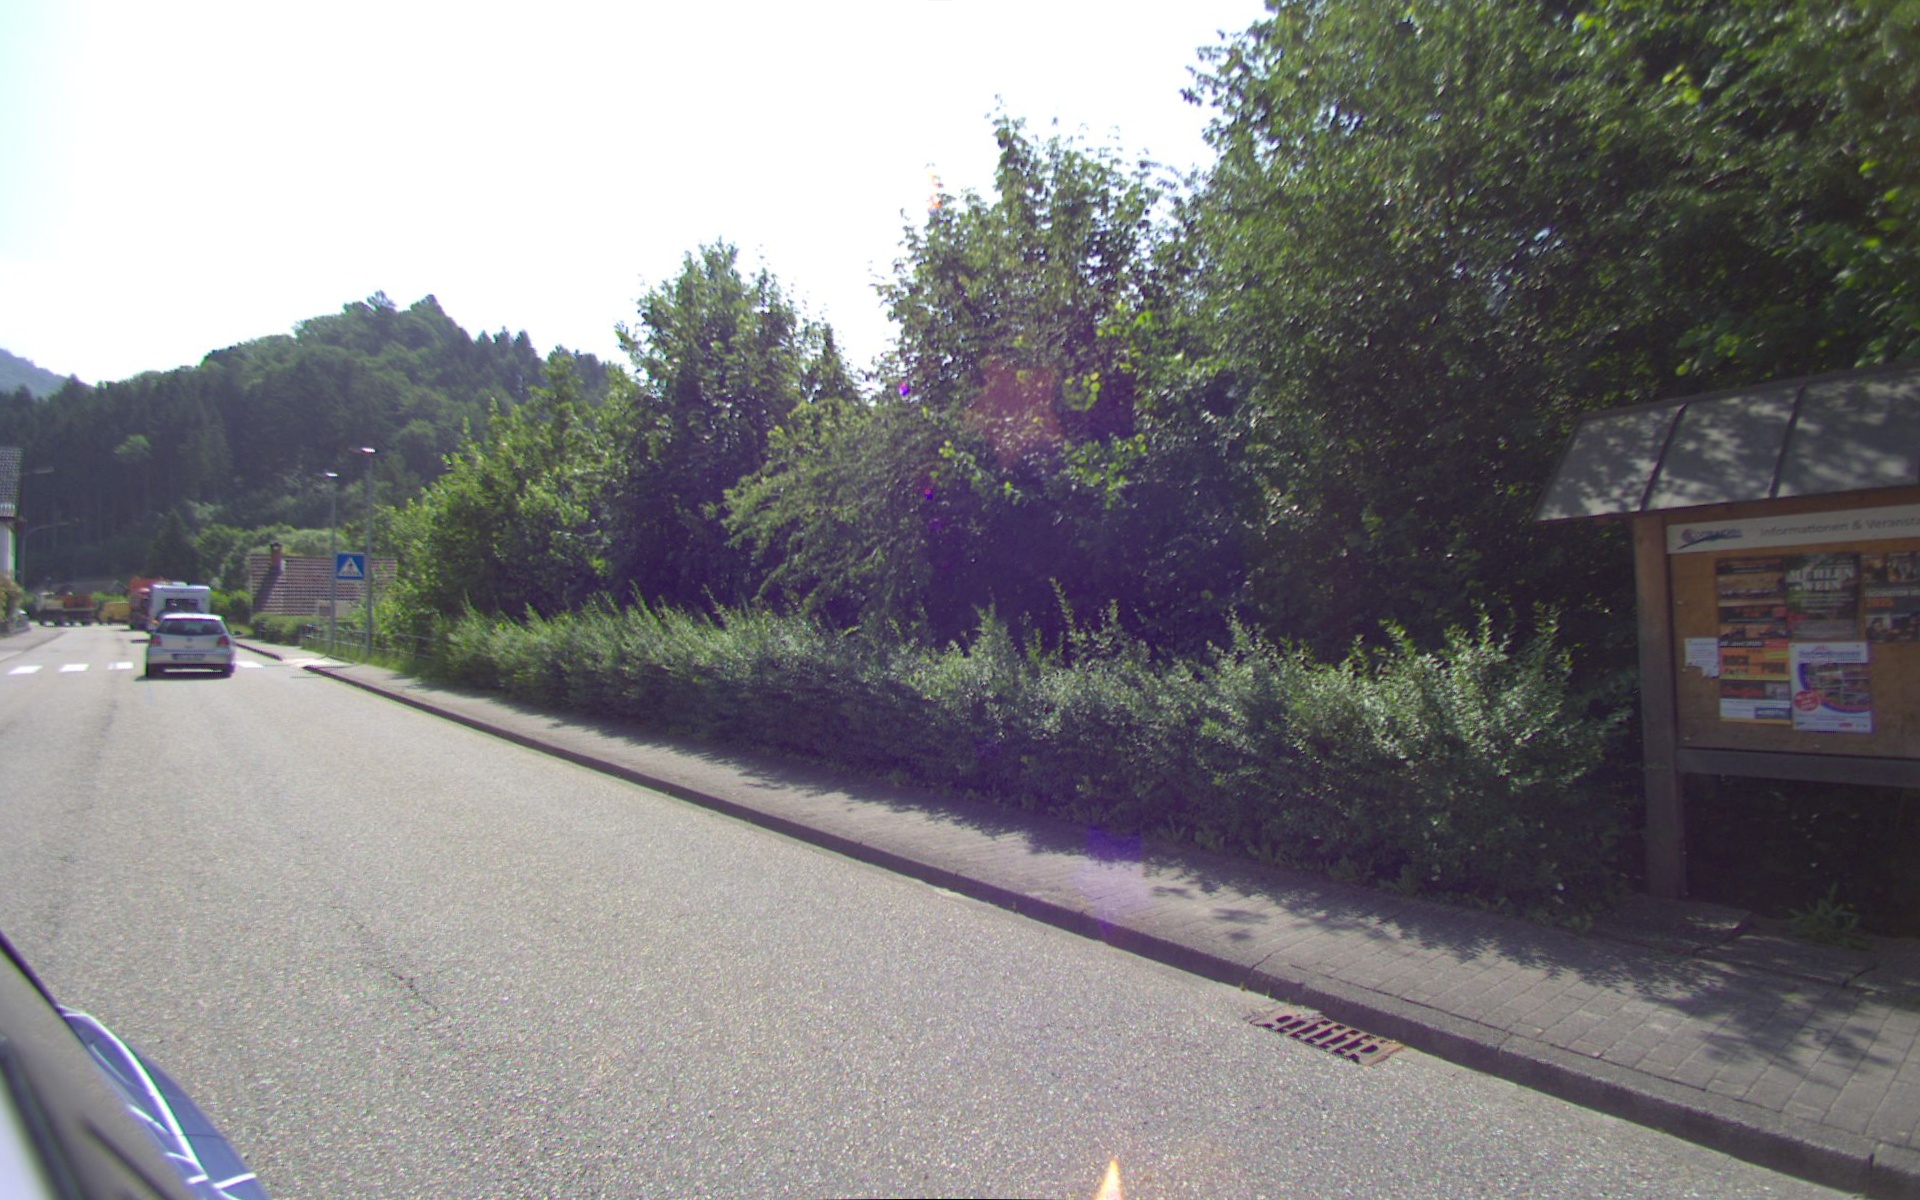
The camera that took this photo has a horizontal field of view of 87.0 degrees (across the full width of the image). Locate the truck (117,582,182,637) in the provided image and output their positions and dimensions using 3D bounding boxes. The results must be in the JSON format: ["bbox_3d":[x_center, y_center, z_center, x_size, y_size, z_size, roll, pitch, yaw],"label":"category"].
[{"bbox_3d":[-57.759,0.705,72.049,2.613,3.609,8.199,5,-3,-44],"label":"truck"}]

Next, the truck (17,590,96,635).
[{"bbox_3d":[-77.370,1.048,86.597,7.743,3.609,2.625,1,-3,31],"label":"truck"}]

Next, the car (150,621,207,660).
[{"bbox_3d":[-31.101,1.595,40.233,1.584,1.416,3.834,5,-4,-40],"label":"car"}]

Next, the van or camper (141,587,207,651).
[{"bbox_3d":[-40.362,1.034,51.877,2.328,2.975,8.065,4,-4,-39],"label":"van or camper"}]

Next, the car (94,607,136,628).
[{"bbox_3d":[-74.638,1.537,89.401,3.567,1.678,1.762,1,-4,33],"label":"car"}]

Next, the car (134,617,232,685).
[{"bbox_3d":[-18.593,1.203,24.342,1.569,1.494,3.767,3,-3,-34],"label":"car"}]
